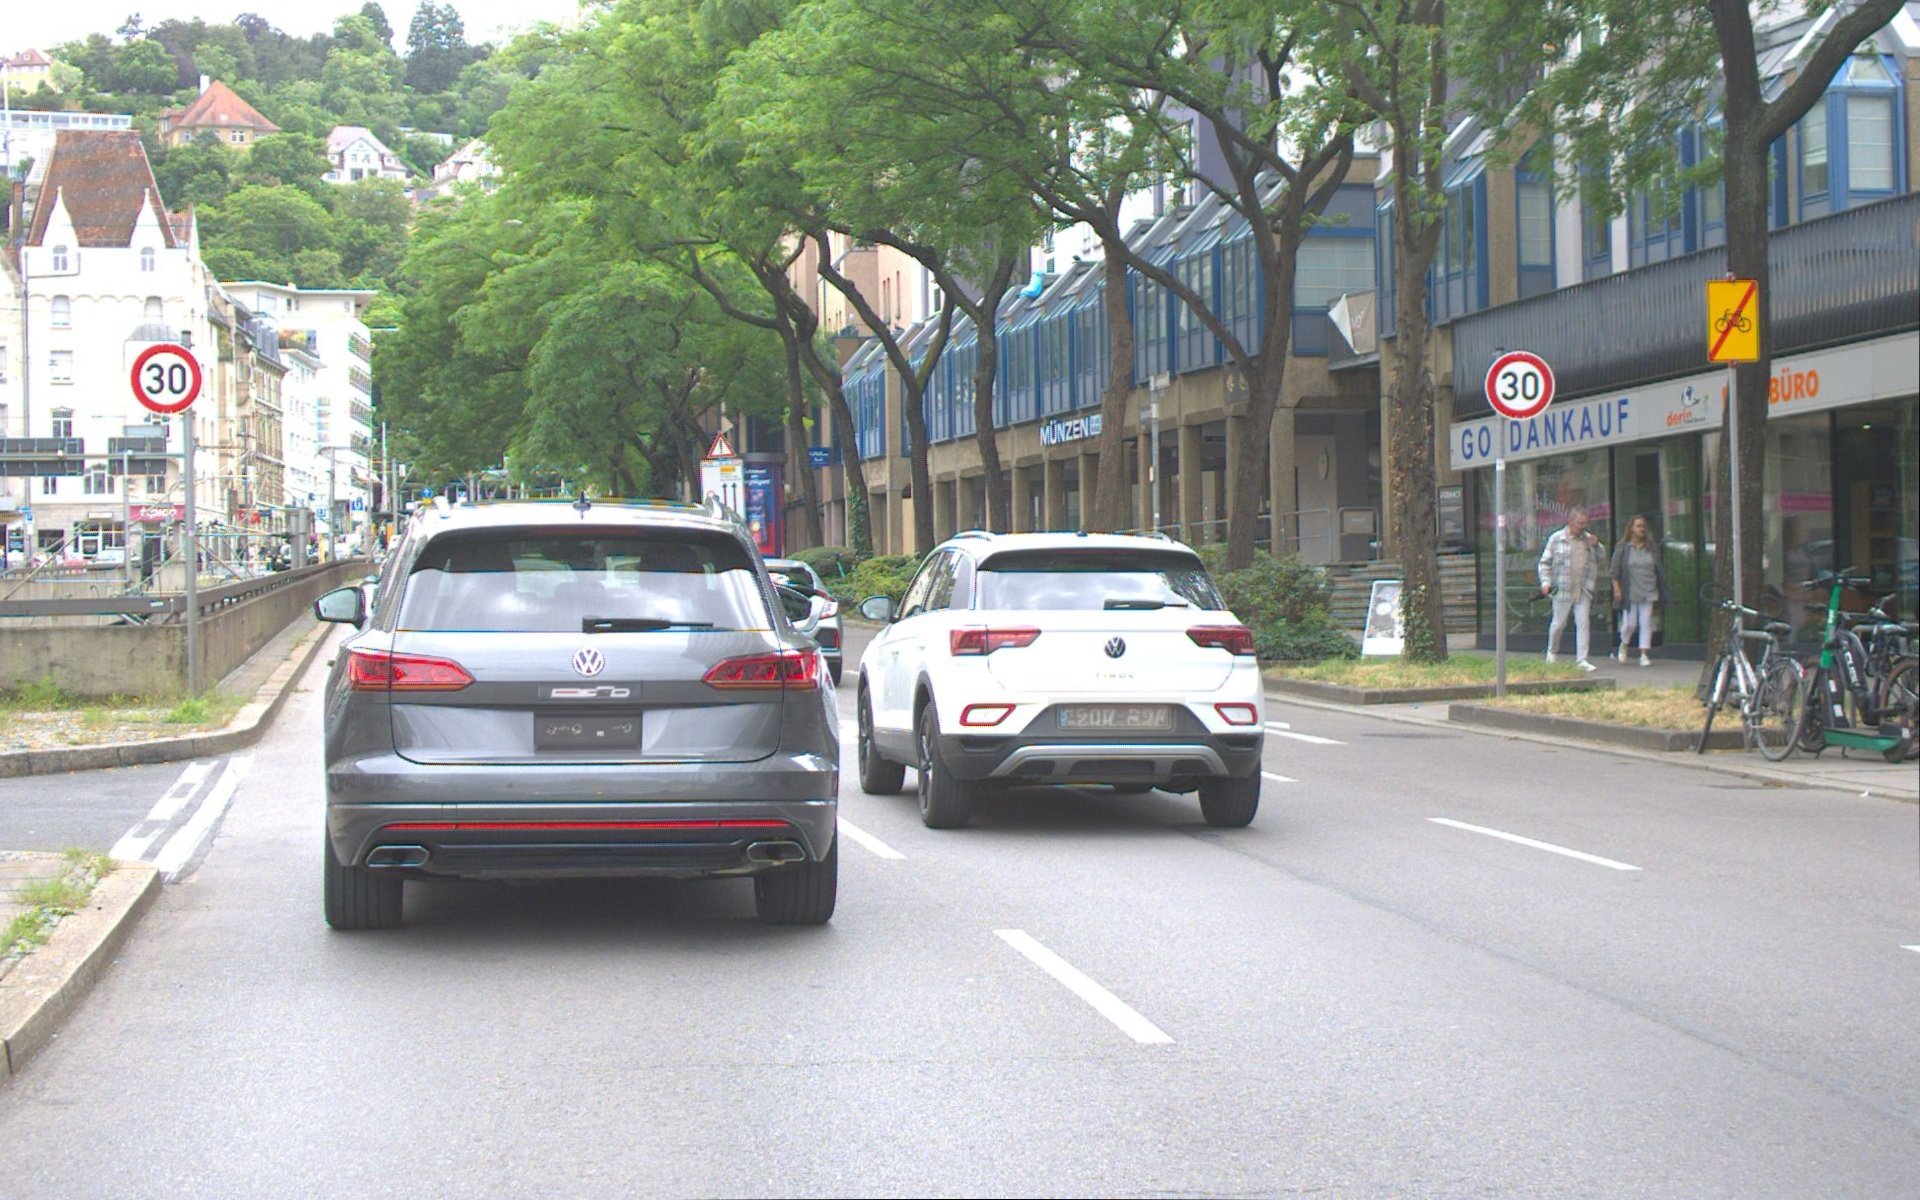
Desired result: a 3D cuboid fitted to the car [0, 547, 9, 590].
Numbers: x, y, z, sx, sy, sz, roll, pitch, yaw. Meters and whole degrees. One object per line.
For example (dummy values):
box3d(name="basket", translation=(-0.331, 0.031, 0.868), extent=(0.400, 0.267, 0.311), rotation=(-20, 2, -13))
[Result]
box3d(name="car", translation=(-35.733, -1.113, 124.102), extent=(1.993, 1.580, 4.888), rotation=(-1, 1, -7))

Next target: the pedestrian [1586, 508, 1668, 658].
box3d(name="pedestrian", translation=(7.361, -0.192, 37.959), extent=(0.595, 1.623, 0.758), rotation=(-2, 1, -15))

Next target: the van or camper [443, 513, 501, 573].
box3d(name="van or camper", translation=(-26.554, -3.130, 186.921), extent=(2.627, 3.167, 5.805), rotation=(-1, 1, -12))

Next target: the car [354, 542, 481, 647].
box3d(name="car", translation=(-8.426, -0.116, 53.188), extent=(1.831, 1.512, 3.768), rotation=(-2, 1, -10))

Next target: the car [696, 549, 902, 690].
box3d(name="car", translation=(-1.912, 0.181, 39.582), extent=(1.833, 1.427, 4.149), rotation=(0, 2, -10))

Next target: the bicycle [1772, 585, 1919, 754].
box3d(name="bicycle", translation=(6.446, 0.470, 24.386), extent=(0.489, 1.128, 1.888), rotation=(-1, 1, -15))

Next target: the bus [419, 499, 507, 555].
box3d(name="bus", translation=(-33.140, -4.898, 230.036), extent=(3.849, 3.520, 17.247), rotation=(-1, 1, -2))

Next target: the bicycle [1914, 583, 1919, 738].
box3d(name="bicycle", translation=(7.353, 0.455, 24.356), extent=(0.489, 1.128, 1.689), rotation=(-1, 1, -9))

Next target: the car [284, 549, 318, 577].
box3d(name="car", translation=(-41.908, -2.372, 218.734), extent=(1.993, 1.761, 4.281), rotation=(-1, 1, -9))

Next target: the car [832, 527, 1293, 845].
box3d(name="car", translation=(0.454, 0.429, 19.240), extent=(1.797, 1.540, 3.936), rotation=(-2, 0, -10))

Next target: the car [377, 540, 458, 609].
box3d(name="car", translation=(-13.000, -0.635, 82.233), extent=(1.831, 1.561, 3.768), rotation=(-2, 1, -9))

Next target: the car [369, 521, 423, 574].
box3d(name="car", translation=(-21.085, -1.973, 128.625), extent=(1.831, 1.868, 4.872), rotation=(-2, 1, -8))

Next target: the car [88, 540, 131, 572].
box3d(name="car", translation=(-47.231, -2.454, 190.923), extent=(1.993, 1.761, 4.282), rotation=(-1, 1, -9))

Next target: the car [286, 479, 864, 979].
box3d(name="car", translation=(-1.596, 0.398, 14.210), extent=(1.970, 1.690, 4.225), rotation=(-2, 2, -7))

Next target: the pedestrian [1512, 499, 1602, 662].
box3d(name="pedestrian", translation=(6.546, -0.224, 37.733), extent=(0.595, 1.748, 0.941), rotation=(-2, 1, -15))

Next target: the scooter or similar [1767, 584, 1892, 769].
box3d(name="scooter or similar", translation=(6.058, 0.520, 23.981), extent=(0.305, 1.247, 0.997), rotation=(-1, 1, -22))

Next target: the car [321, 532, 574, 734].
box3d(name="car", translation=(-4.016, 0.201, 27.300), extent=(1.833, 1.390, 4.149), rotation=(0, 2, -7))

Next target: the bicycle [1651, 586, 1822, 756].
box3d(name="bicycle", translation=(5.471, 0.478, 24.313), extent=(0.489, 1.128, 1.844), rotation=(-1, 1, -10))
